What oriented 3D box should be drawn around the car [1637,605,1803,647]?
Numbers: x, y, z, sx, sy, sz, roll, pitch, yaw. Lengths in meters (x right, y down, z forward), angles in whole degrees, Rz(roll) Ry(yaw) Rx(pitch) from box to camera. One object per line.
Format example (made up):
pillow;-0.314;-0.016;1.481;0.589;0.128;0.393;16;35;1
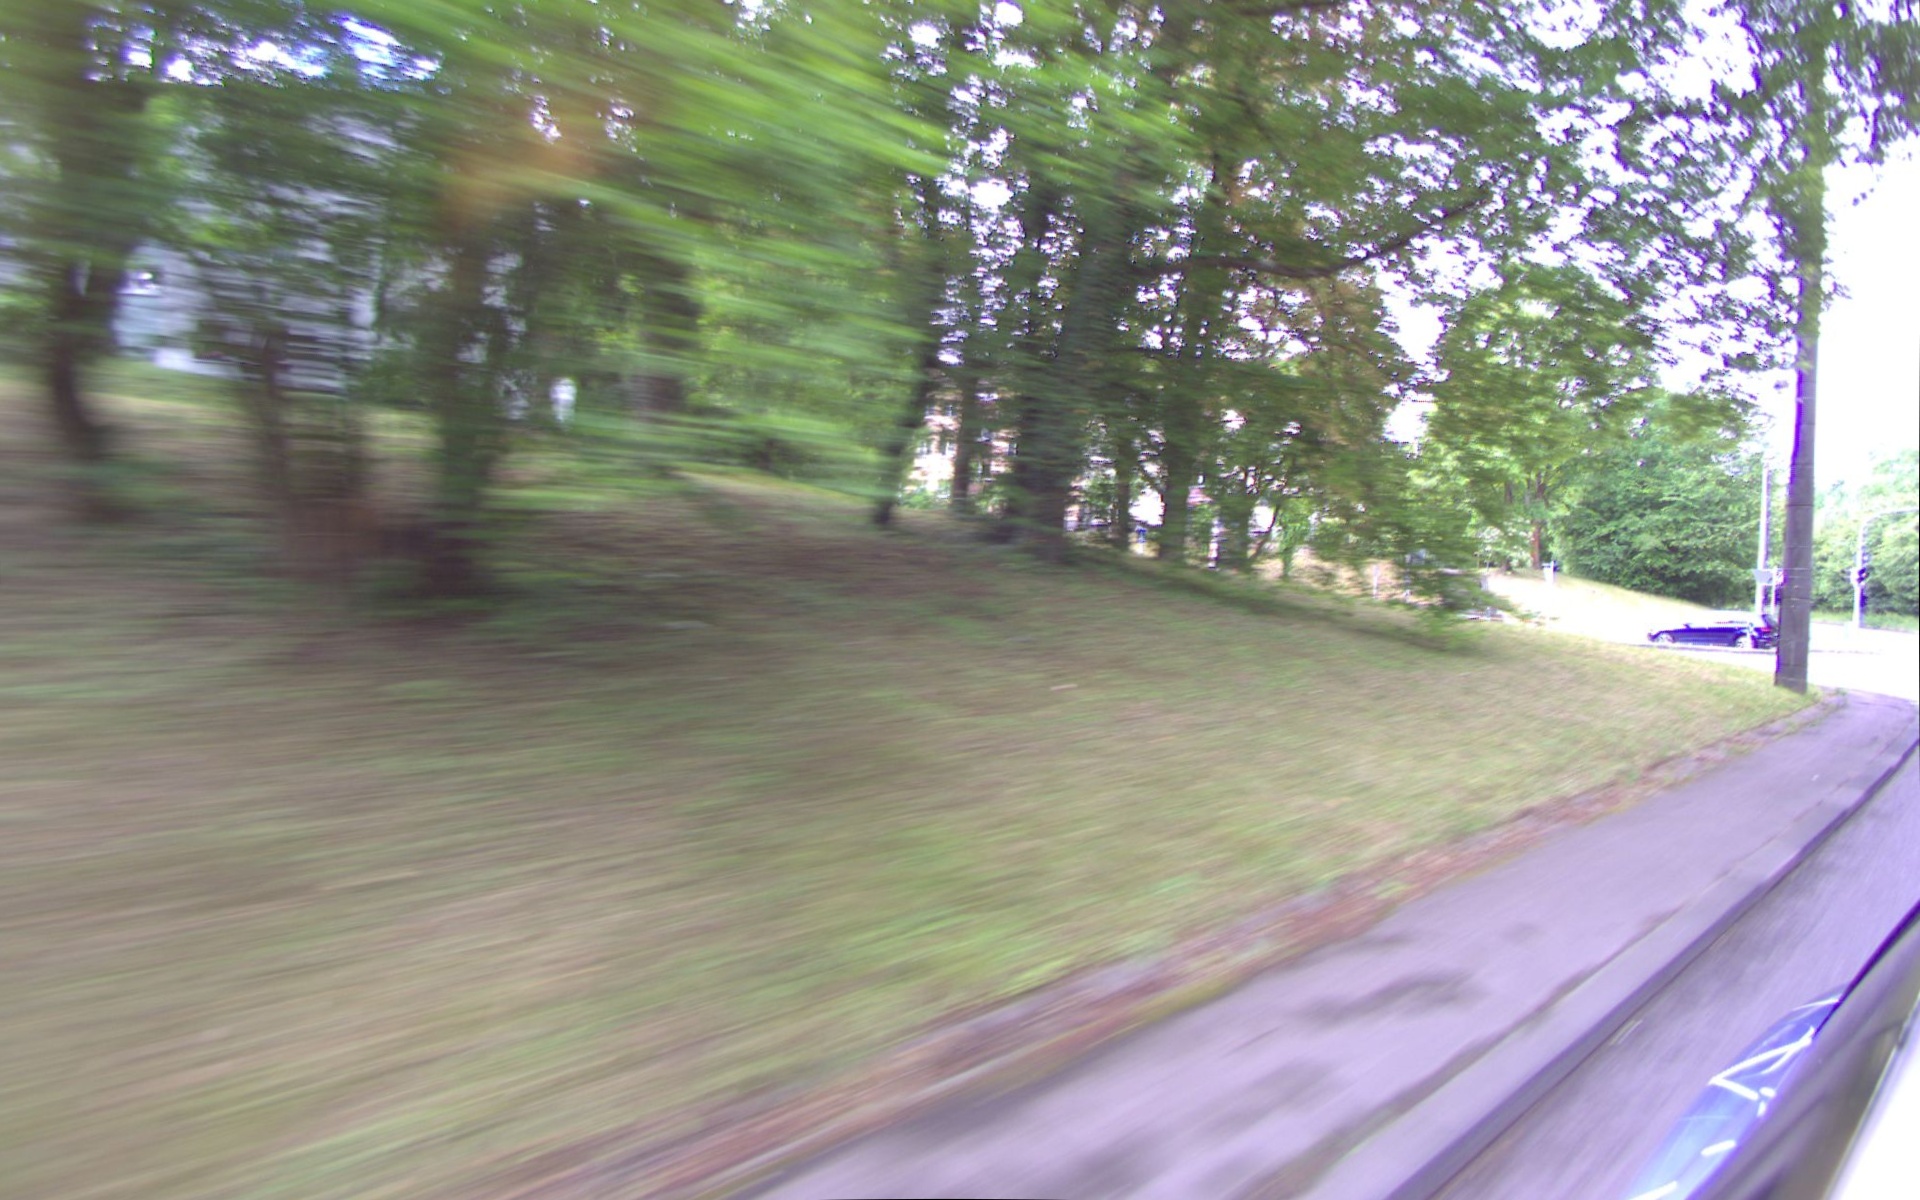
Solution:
car;29.367;0.984;39.279;1.759;1.534;4.844;2;-1;-33
